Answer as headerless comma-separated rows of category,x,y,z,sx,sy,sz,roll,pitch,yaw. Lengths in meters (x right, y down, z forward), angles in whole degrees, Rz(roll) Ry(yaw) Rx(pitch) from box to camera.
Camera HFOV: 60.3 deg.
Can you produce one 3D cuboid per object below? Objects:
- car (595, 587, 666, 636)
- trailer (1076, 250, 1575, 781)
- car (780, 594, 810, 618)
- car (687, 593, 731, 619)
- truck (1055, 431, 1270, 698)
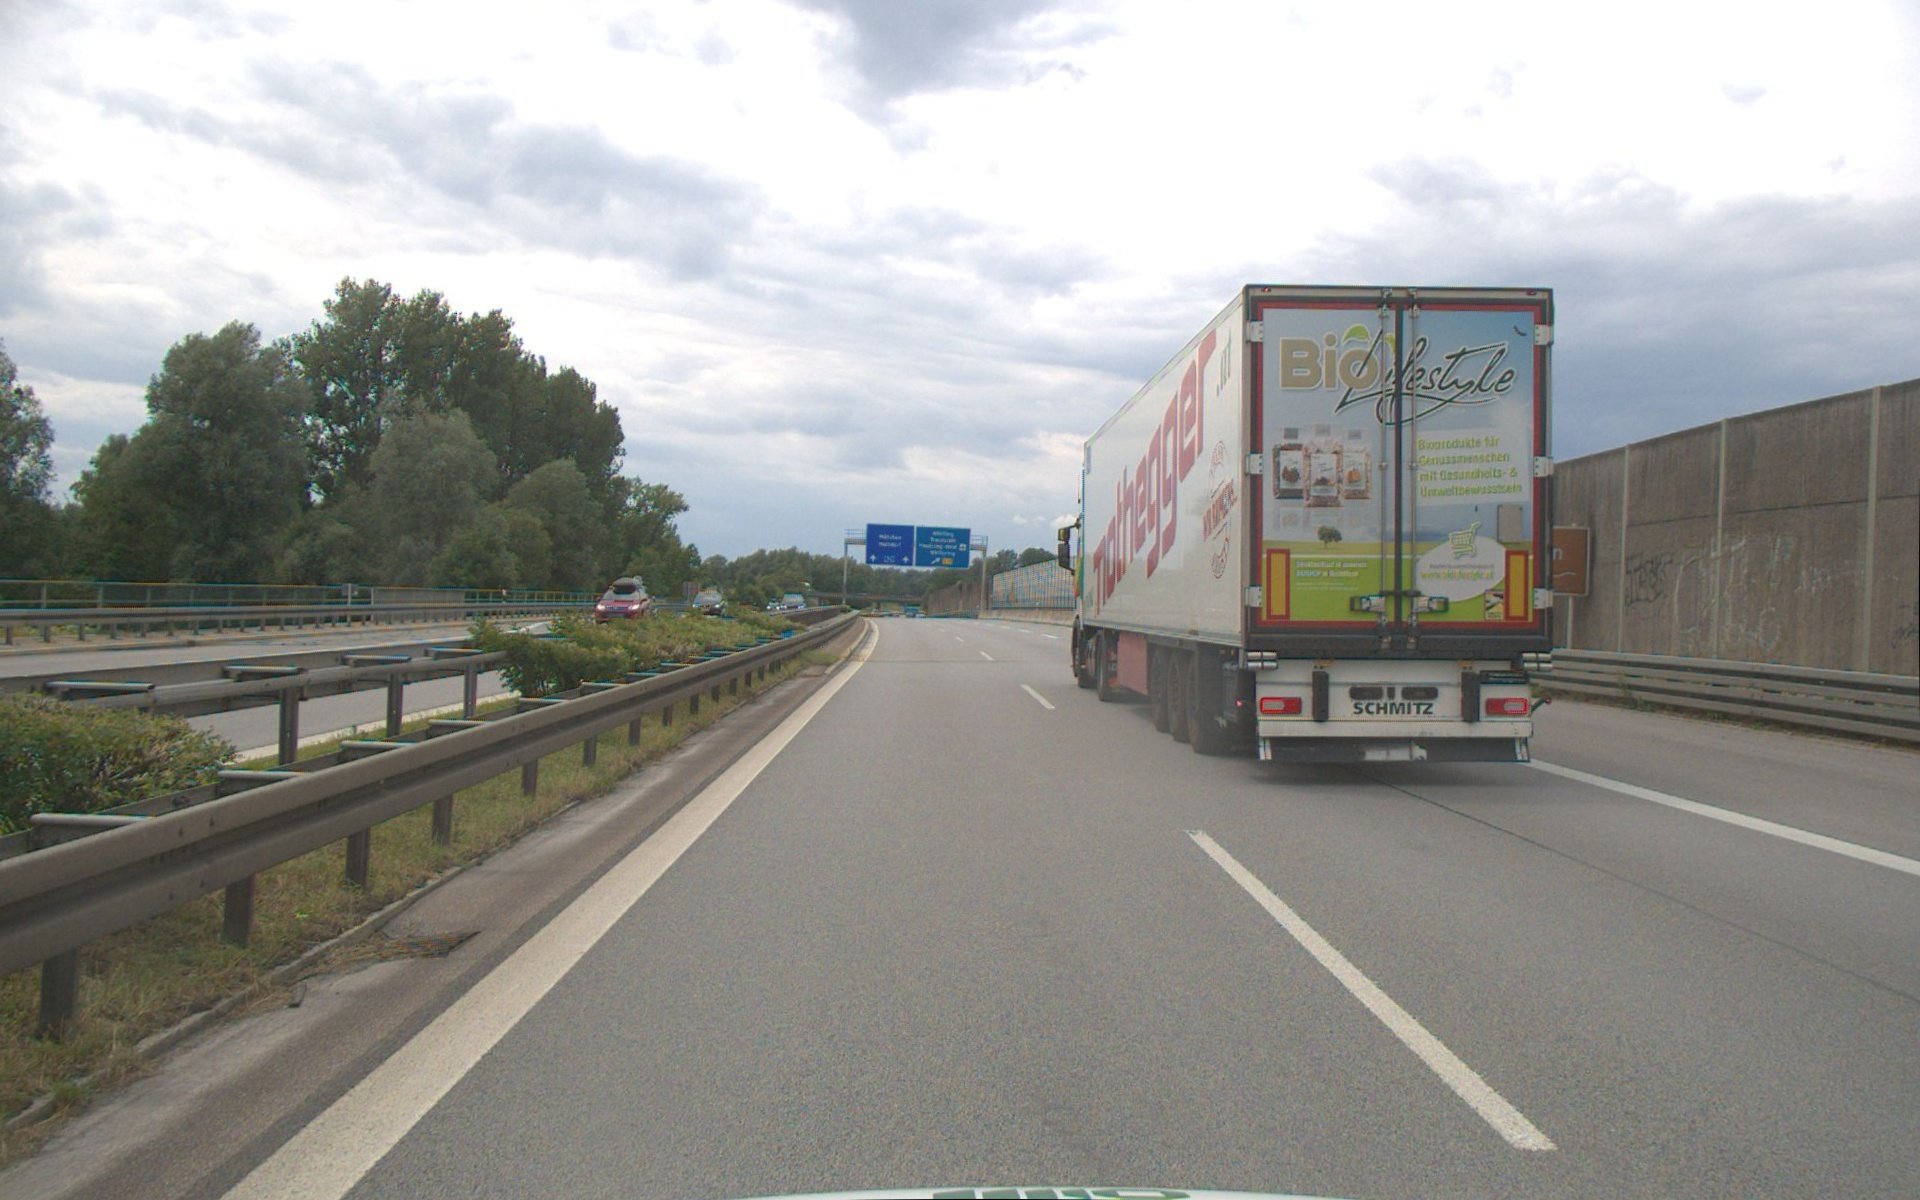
car,-12.680,0.430,63.954,1.930,1.792,4.942,1,0,-2
trailer,3.450,-0.673,20.381,2.736,4.248,14.099,1,0,-1
car,-11.292,0.407,113.343,1.804,1.557,4.833,0,0,-2
car,-14.222,0.327,93.870,1.930,1.428,4.707,0,0,-2
truck,3.238,-0.531,27.953,2.701,4.029,5.674,1,0,-2
